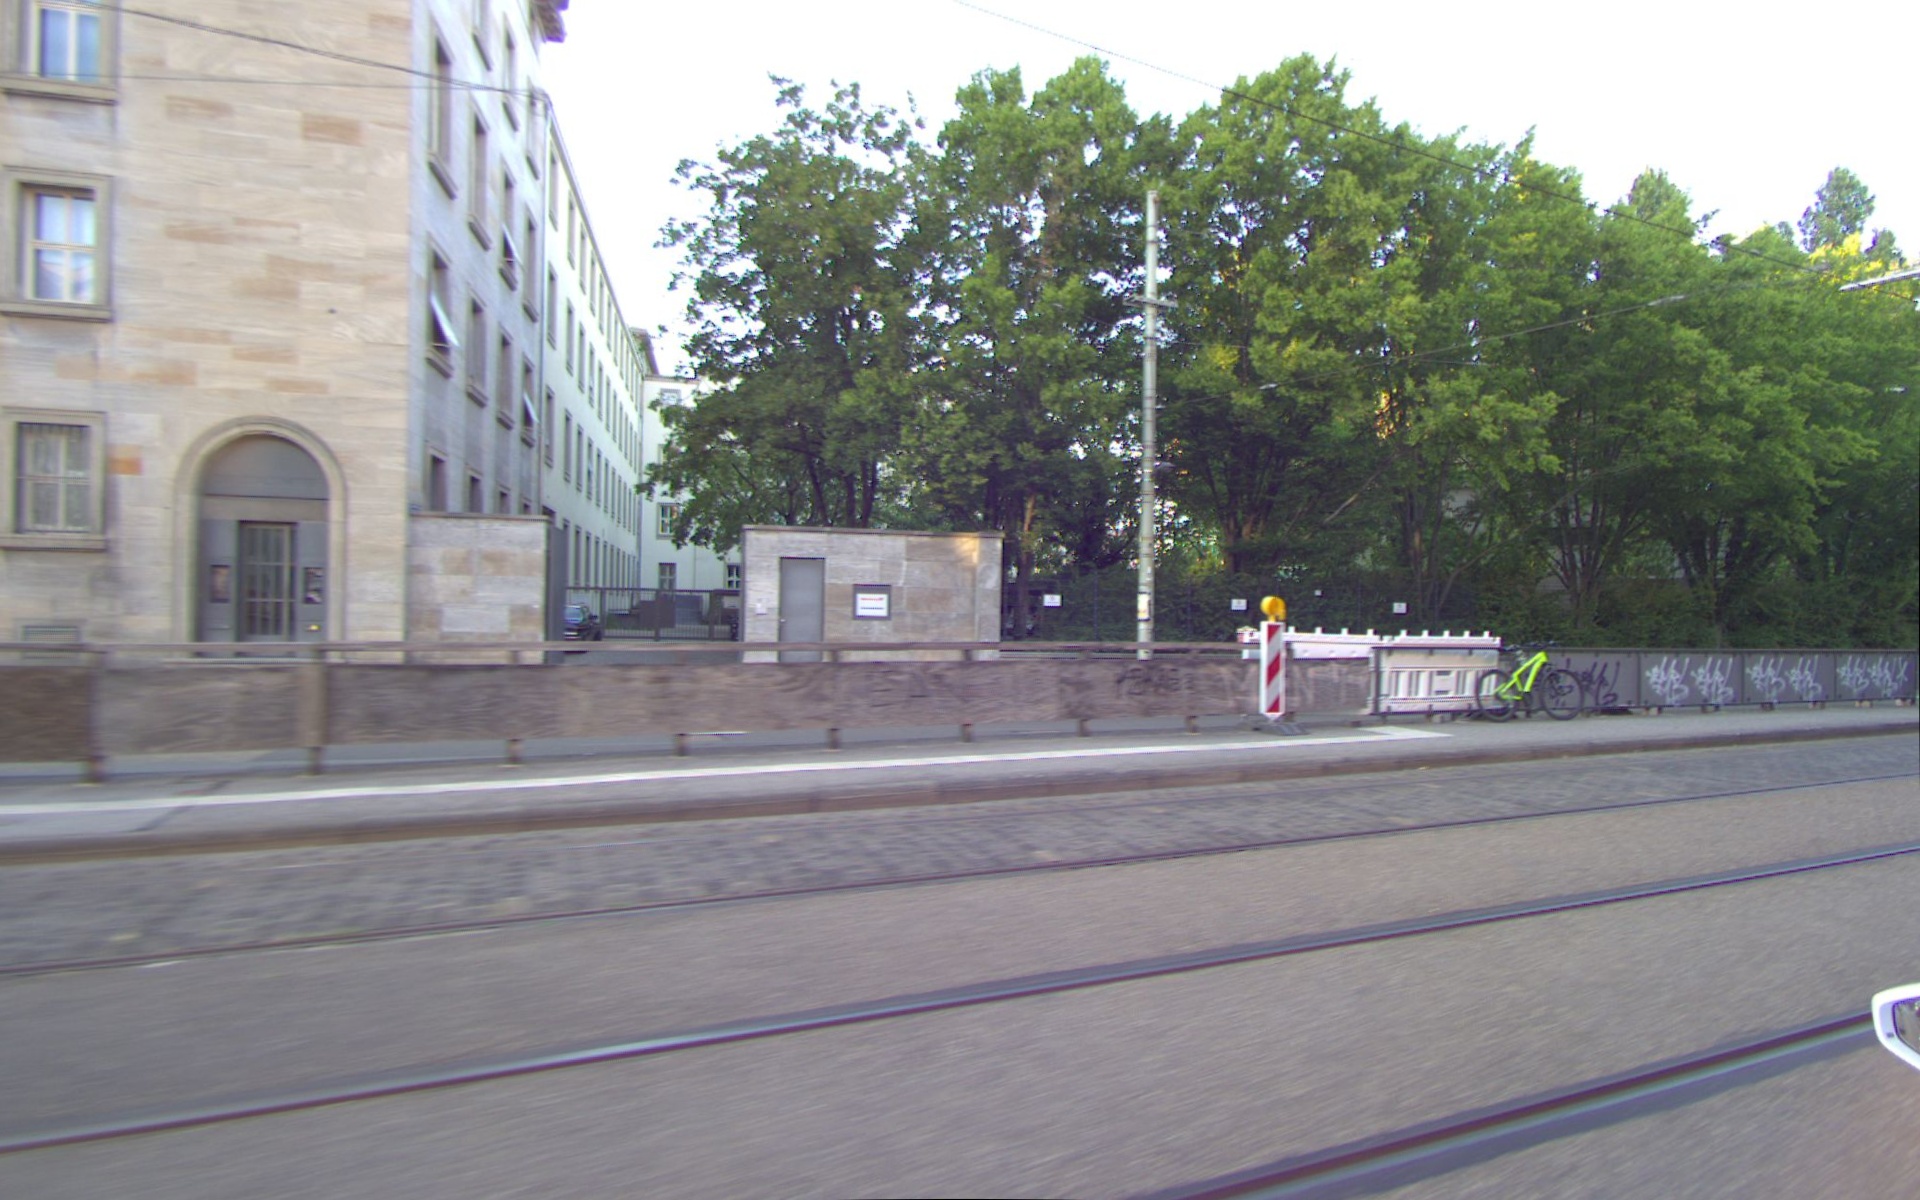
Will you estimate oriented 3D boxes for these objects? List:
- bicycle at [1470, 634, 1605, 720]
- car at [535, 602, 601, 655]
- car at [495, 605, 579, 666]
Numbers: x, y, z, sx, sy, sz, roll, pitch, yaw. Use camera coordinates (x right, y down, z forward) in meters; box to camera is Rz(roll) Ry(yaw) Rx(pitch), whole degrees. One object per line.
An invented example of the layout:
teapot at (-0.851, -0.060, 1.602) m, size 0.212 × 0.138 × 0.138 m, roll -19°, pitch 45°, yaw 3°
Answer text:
bicycle at (7.738, 1.009, 13.435) m, size 1.993 × 1.089 × 0.461 m, roll 1°, pitch -1°, yaw -23°
car at (-11.316, 0.799, 29.156) m, size 1.370 × 1.438 × 3.005 m, roll 1°, pitch 0°, yaw -14°
car at (-10.644, 0.845, 25.438) m, size 1.453 × 1.438 × 3.178 m, roll 1°, pitch 0°, yaw -14°
